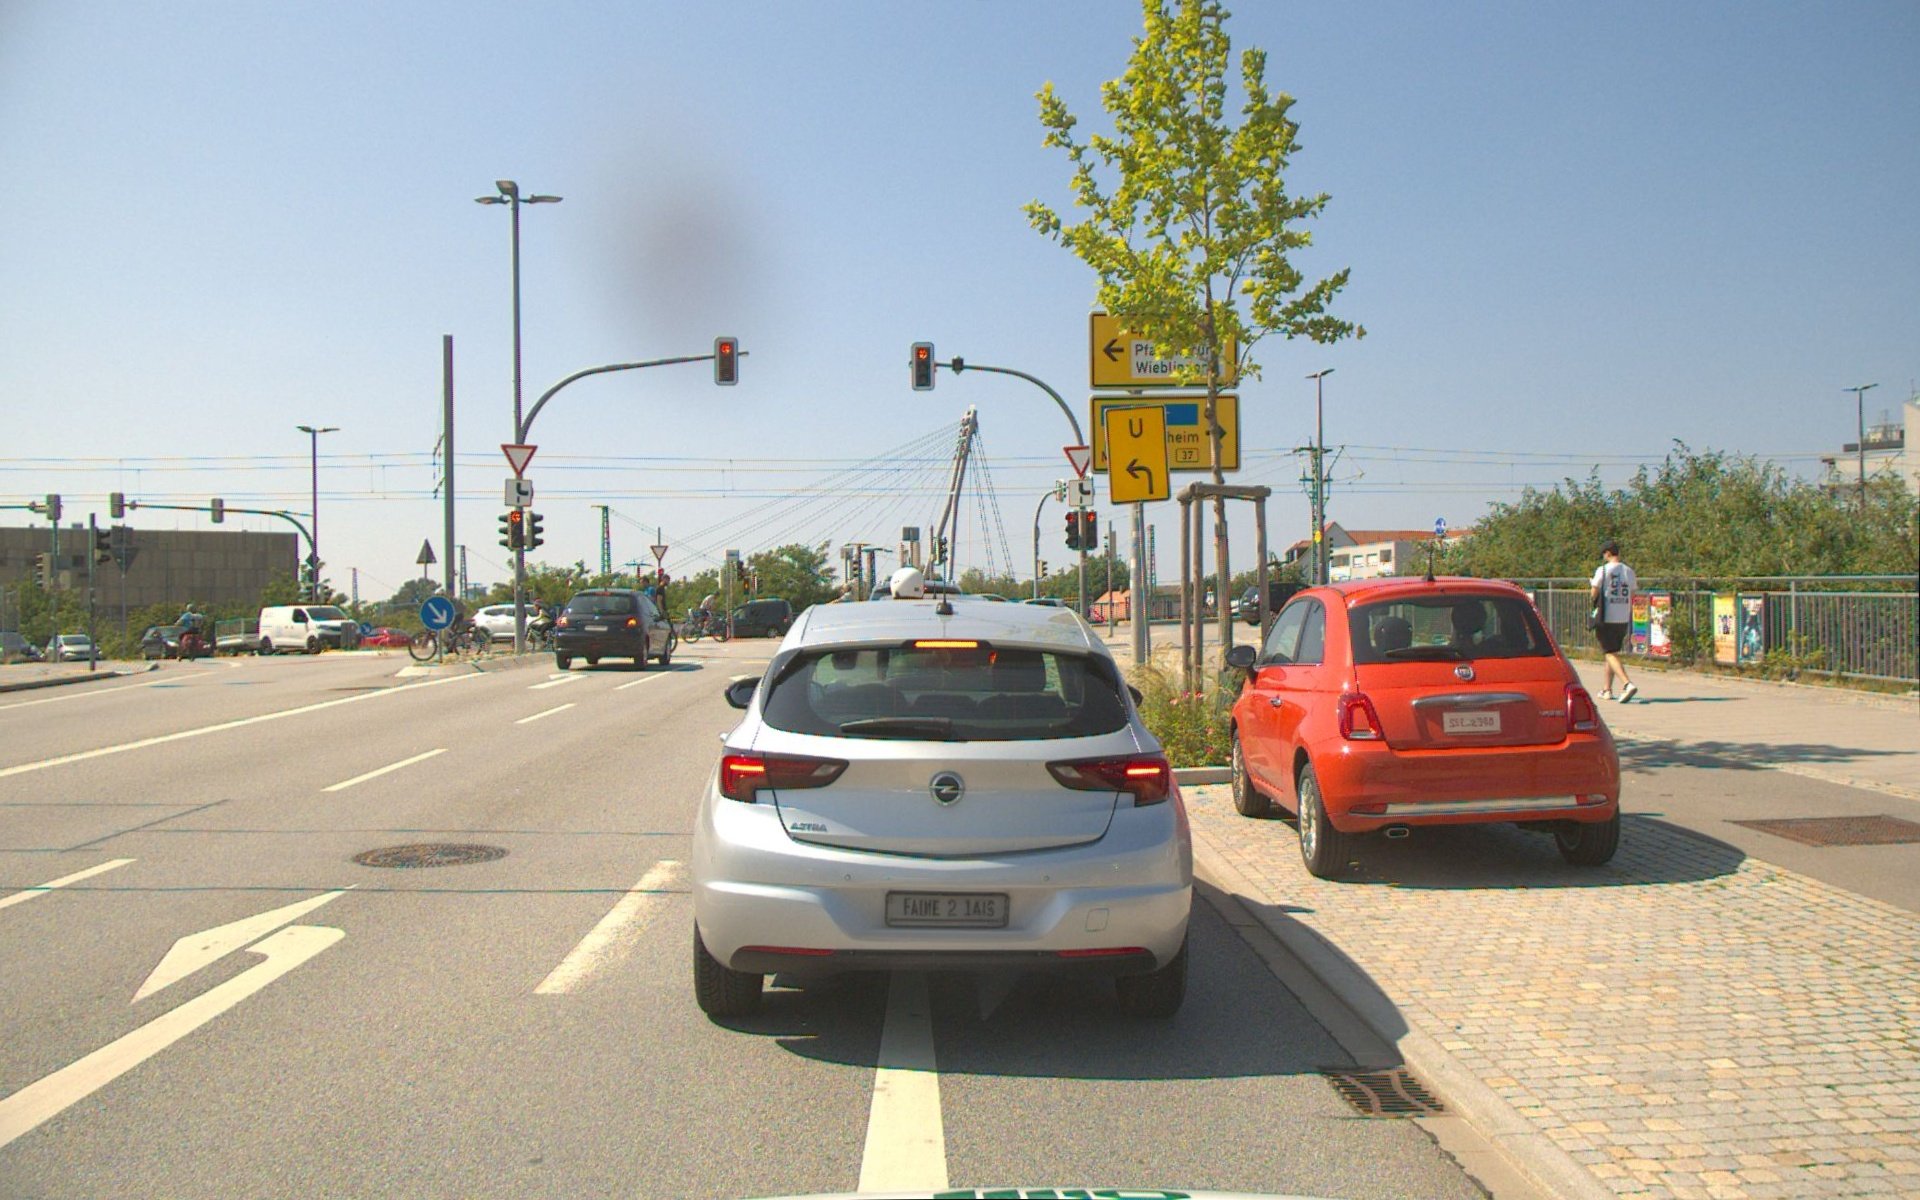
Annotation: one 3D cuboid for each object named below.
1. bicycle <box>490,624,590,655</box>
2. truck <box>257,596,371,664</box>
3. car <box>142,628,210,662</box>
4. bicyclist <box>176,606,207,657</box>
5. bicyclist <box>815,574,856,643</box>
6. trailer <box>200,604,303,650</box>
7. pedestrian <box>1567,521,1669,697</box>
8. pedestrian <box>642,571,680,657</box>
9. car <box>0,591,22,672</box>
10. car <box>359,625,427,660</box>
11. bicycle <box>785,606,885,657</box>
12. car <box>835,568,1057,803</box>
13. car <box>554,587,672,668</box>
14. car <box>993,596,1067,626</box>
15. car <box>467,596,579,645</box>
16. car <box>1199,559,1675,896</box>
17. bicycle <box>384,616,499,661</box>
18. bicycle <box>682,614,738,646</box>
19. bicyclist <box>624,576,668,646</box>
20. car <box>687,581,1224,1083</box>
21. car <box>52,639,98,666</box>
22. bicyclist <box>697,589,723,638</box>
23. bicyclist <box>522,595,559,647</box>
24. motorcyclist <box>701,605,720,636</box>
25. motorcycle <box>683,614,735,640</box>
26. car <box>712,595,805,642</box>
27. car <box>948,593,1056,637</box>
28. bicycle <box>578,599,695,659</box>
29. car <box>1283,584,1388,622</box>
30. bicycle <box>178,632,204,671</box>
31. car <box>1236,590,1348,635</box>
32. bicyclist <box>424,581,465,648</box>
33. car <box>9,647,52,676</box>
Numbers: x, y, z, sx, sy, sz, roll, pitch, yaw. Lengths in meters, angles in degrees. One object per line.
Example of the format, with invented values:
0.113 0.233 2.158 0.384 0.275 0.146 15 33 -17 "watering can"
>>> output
-9.830 0.922 38.769 2.200 0.704 0.516 0 0 -1 "bicycle"
-25.526 1.146 65.311 4.615 2.585 1.992 0 -1 36 "truck"
-34.689 1.987 73.176 1.653 1.414 3.727 2 -1 -43 "car"
-23.533 0.967 50.665 0.812 1.530 0.714 1 -1 -27 "bicyclist"
-2.956 0.208 39.200 0.926 1.596 0.822 1 -1 -5 "bicyclist"
-29.054 1.103 67.821 4.200 1.807 1.992 1 -1 36 "trailer"
7.199 0.104 18.126 0.743 1.862 0.884 1 -1 -1 "pedestrian"
-6.687 0.311 37.023 0.726 1.896 0.753 1 -1 -6 "pedestrian"
-25.663 0.794 43.491 1.652 2.049 3.961 2 -1 -29 "car"
-28.930 2.143 84.361 3.321 1.684 1.642 1 -1 34 "car"
-2.959 0.743 39.172 2.311 1.147 0.677 1 -1 -4 "bicycle"
-0.151 0.654 14.131 1.602 1.703 3.744 1 -1 -2 "car"
-6.399 0.495 30.791 1.555 1.419 3.338 0 -1 -2 "car"
3.264 0.498 76.908 3.156 1.327 1.519 1 -1 -13 "car"
-17.258 0.793 65.342 3.953 1.846 1.930 0 -1 25 "car"
2.621 0.573 10.036 1.636 1.566 3.916 -2 2 -2 "car"
-11.892 0.876 37.975 2.453 1.025 0.605 0 -1 -1 "bicycle"
-8.679 1.035 57.455 1.828 1.087 0.577 1 -1 -2 "bicycle"
-7.266 0.267 38.285 0.805 1.587 0.863 1 -1 2 "bicyclist"
-0.062 0.722 7.266 1.656 1.546 4.269 0 0 -2 "car"
-43.558 2.575 81.371 2.440 1.262 1.271 0 -1 42 "car"
-8.679 0.470 57.412 0.756 1.638 0.948 1 -1 -2 "bicyclist"
-9.823 0.495 38.773 0.643 1.196 0.731 1 -1 0 "bicyclist"
-12.523 1.026 83.101 0.792 1.502 0.885 1 -1 -1 "motorcyclist"
-12.610 1.346 83.101 2.485 1.255 0.648 1 -1 -2 "motorcycle"
-9.295 0.854 76.380 3.903 2.049 2.001 1 -1 4 "car"
1.564 0.583 62.754 3.898 1.578 1.673 -1 -1 -6 "car"
-7.475 0.665 38.268 2.472 1.153 0.729 -5 2 2 "bicycle"
14.642 0.110 64.578 3.717 1.386 1.530 -1 0 -6 "car"
-23.616 1.568 50.789 0.627 1.153 2.306 0 0 -27 "bicycle"
12.330 0.475 61.534 3.683 1.611 1.807 0 -1 -14 "car"
-11.838 0.334 37.984 0.643 1.528 0.843 1 -1 0 "bicyclist"
-50.311 3.300 89.545 1.570 1.464 3.111 2 -1 -38 "car"
